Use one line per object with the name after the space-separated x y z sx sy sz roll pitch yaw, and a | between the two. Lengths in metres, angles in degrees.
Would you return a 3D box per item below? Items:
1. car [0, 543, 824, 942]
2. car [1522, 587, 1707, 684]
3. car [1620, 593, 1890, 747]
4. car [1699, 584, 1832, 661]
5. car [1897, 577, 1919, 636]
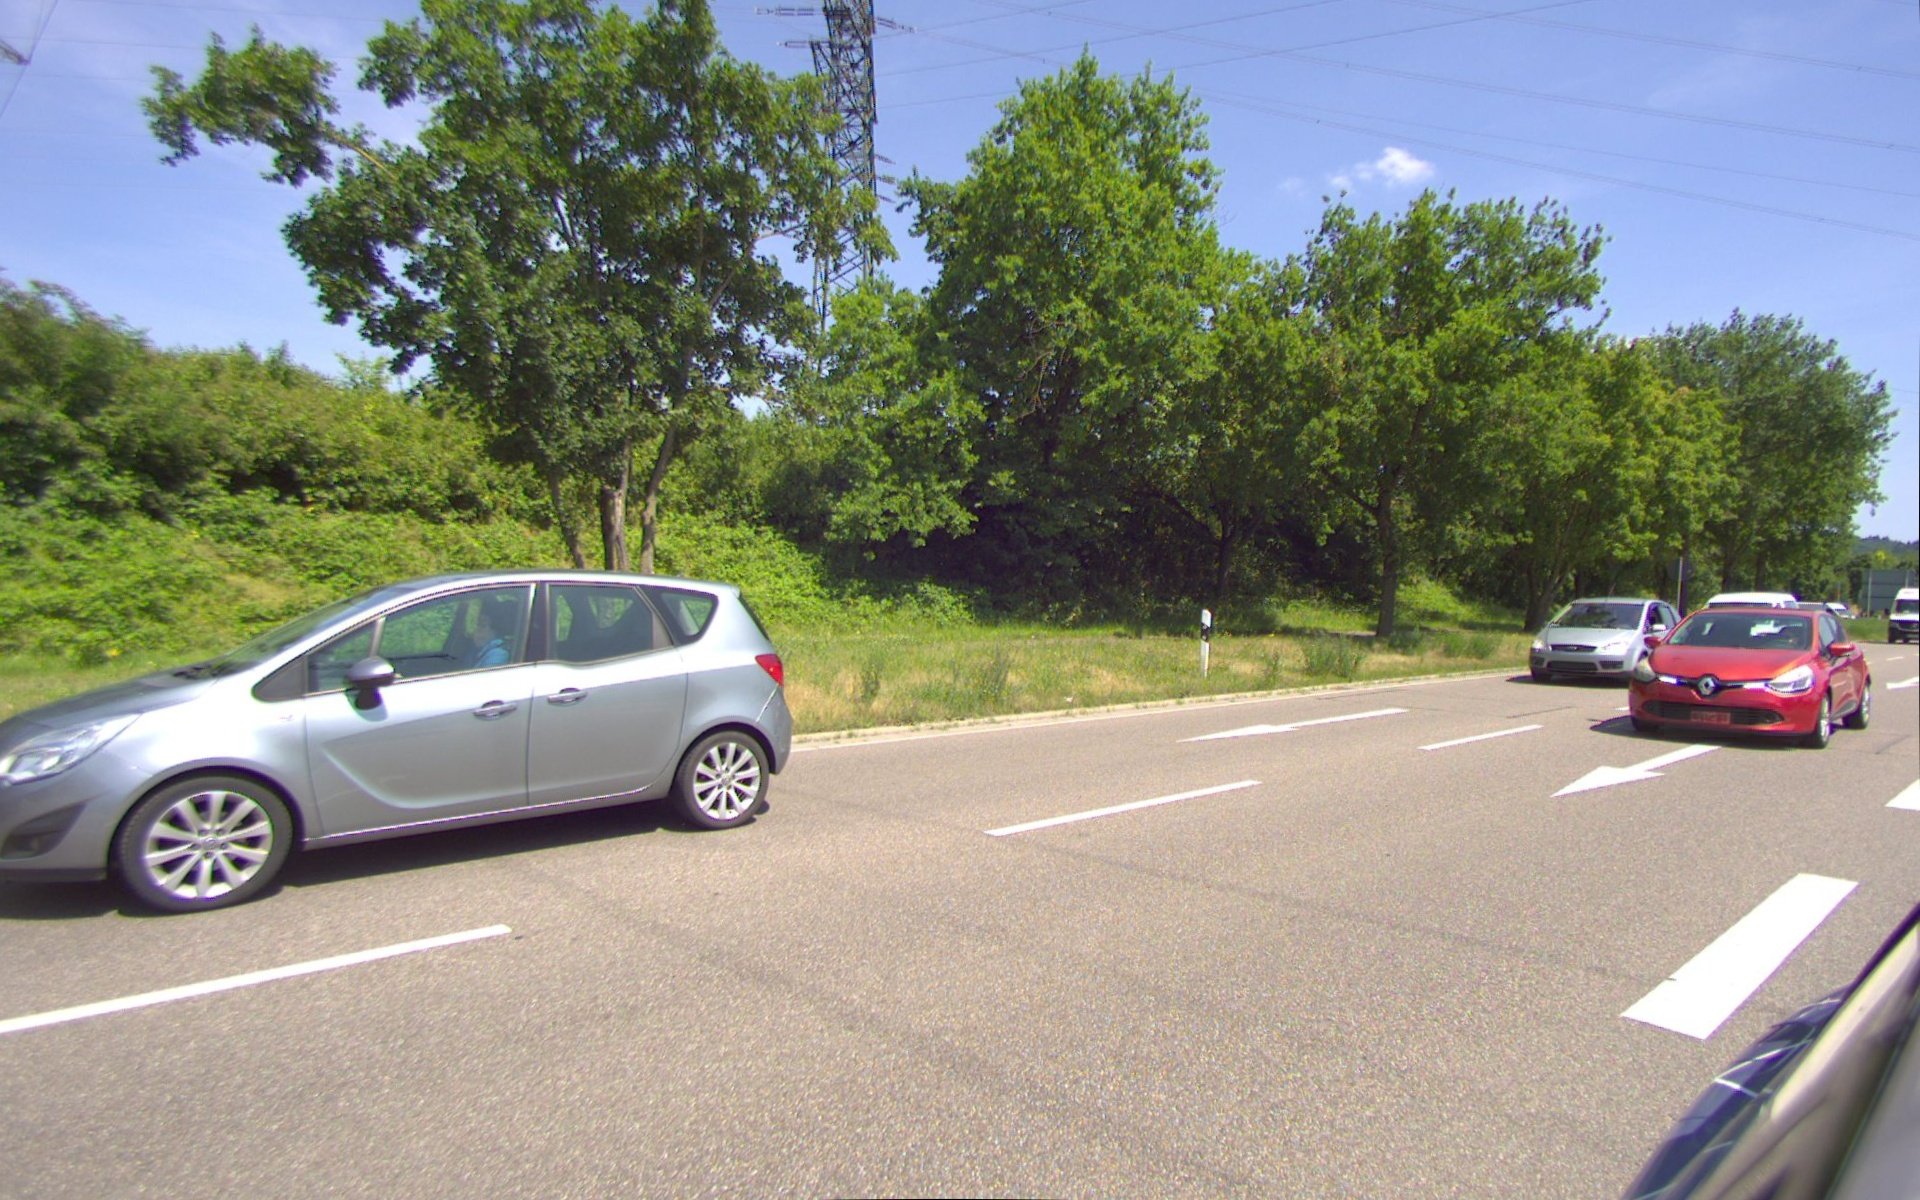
-3.026 0.564 5.950 4.090 1.615 1.769 0 1 -40 | car
12.217 0.594 18.794 4.196 1.614 1.746 0 0 -40 | car
9.302 0.675 11.726 3.994 1.480 1.746 0 0 -41 | car
20.987 0.540 26.301 4.948 1.823 1.808 0 0 -40 | car
45.790 0.286 47.262 6.894 2.640 2.231 0 0 -40 | car
